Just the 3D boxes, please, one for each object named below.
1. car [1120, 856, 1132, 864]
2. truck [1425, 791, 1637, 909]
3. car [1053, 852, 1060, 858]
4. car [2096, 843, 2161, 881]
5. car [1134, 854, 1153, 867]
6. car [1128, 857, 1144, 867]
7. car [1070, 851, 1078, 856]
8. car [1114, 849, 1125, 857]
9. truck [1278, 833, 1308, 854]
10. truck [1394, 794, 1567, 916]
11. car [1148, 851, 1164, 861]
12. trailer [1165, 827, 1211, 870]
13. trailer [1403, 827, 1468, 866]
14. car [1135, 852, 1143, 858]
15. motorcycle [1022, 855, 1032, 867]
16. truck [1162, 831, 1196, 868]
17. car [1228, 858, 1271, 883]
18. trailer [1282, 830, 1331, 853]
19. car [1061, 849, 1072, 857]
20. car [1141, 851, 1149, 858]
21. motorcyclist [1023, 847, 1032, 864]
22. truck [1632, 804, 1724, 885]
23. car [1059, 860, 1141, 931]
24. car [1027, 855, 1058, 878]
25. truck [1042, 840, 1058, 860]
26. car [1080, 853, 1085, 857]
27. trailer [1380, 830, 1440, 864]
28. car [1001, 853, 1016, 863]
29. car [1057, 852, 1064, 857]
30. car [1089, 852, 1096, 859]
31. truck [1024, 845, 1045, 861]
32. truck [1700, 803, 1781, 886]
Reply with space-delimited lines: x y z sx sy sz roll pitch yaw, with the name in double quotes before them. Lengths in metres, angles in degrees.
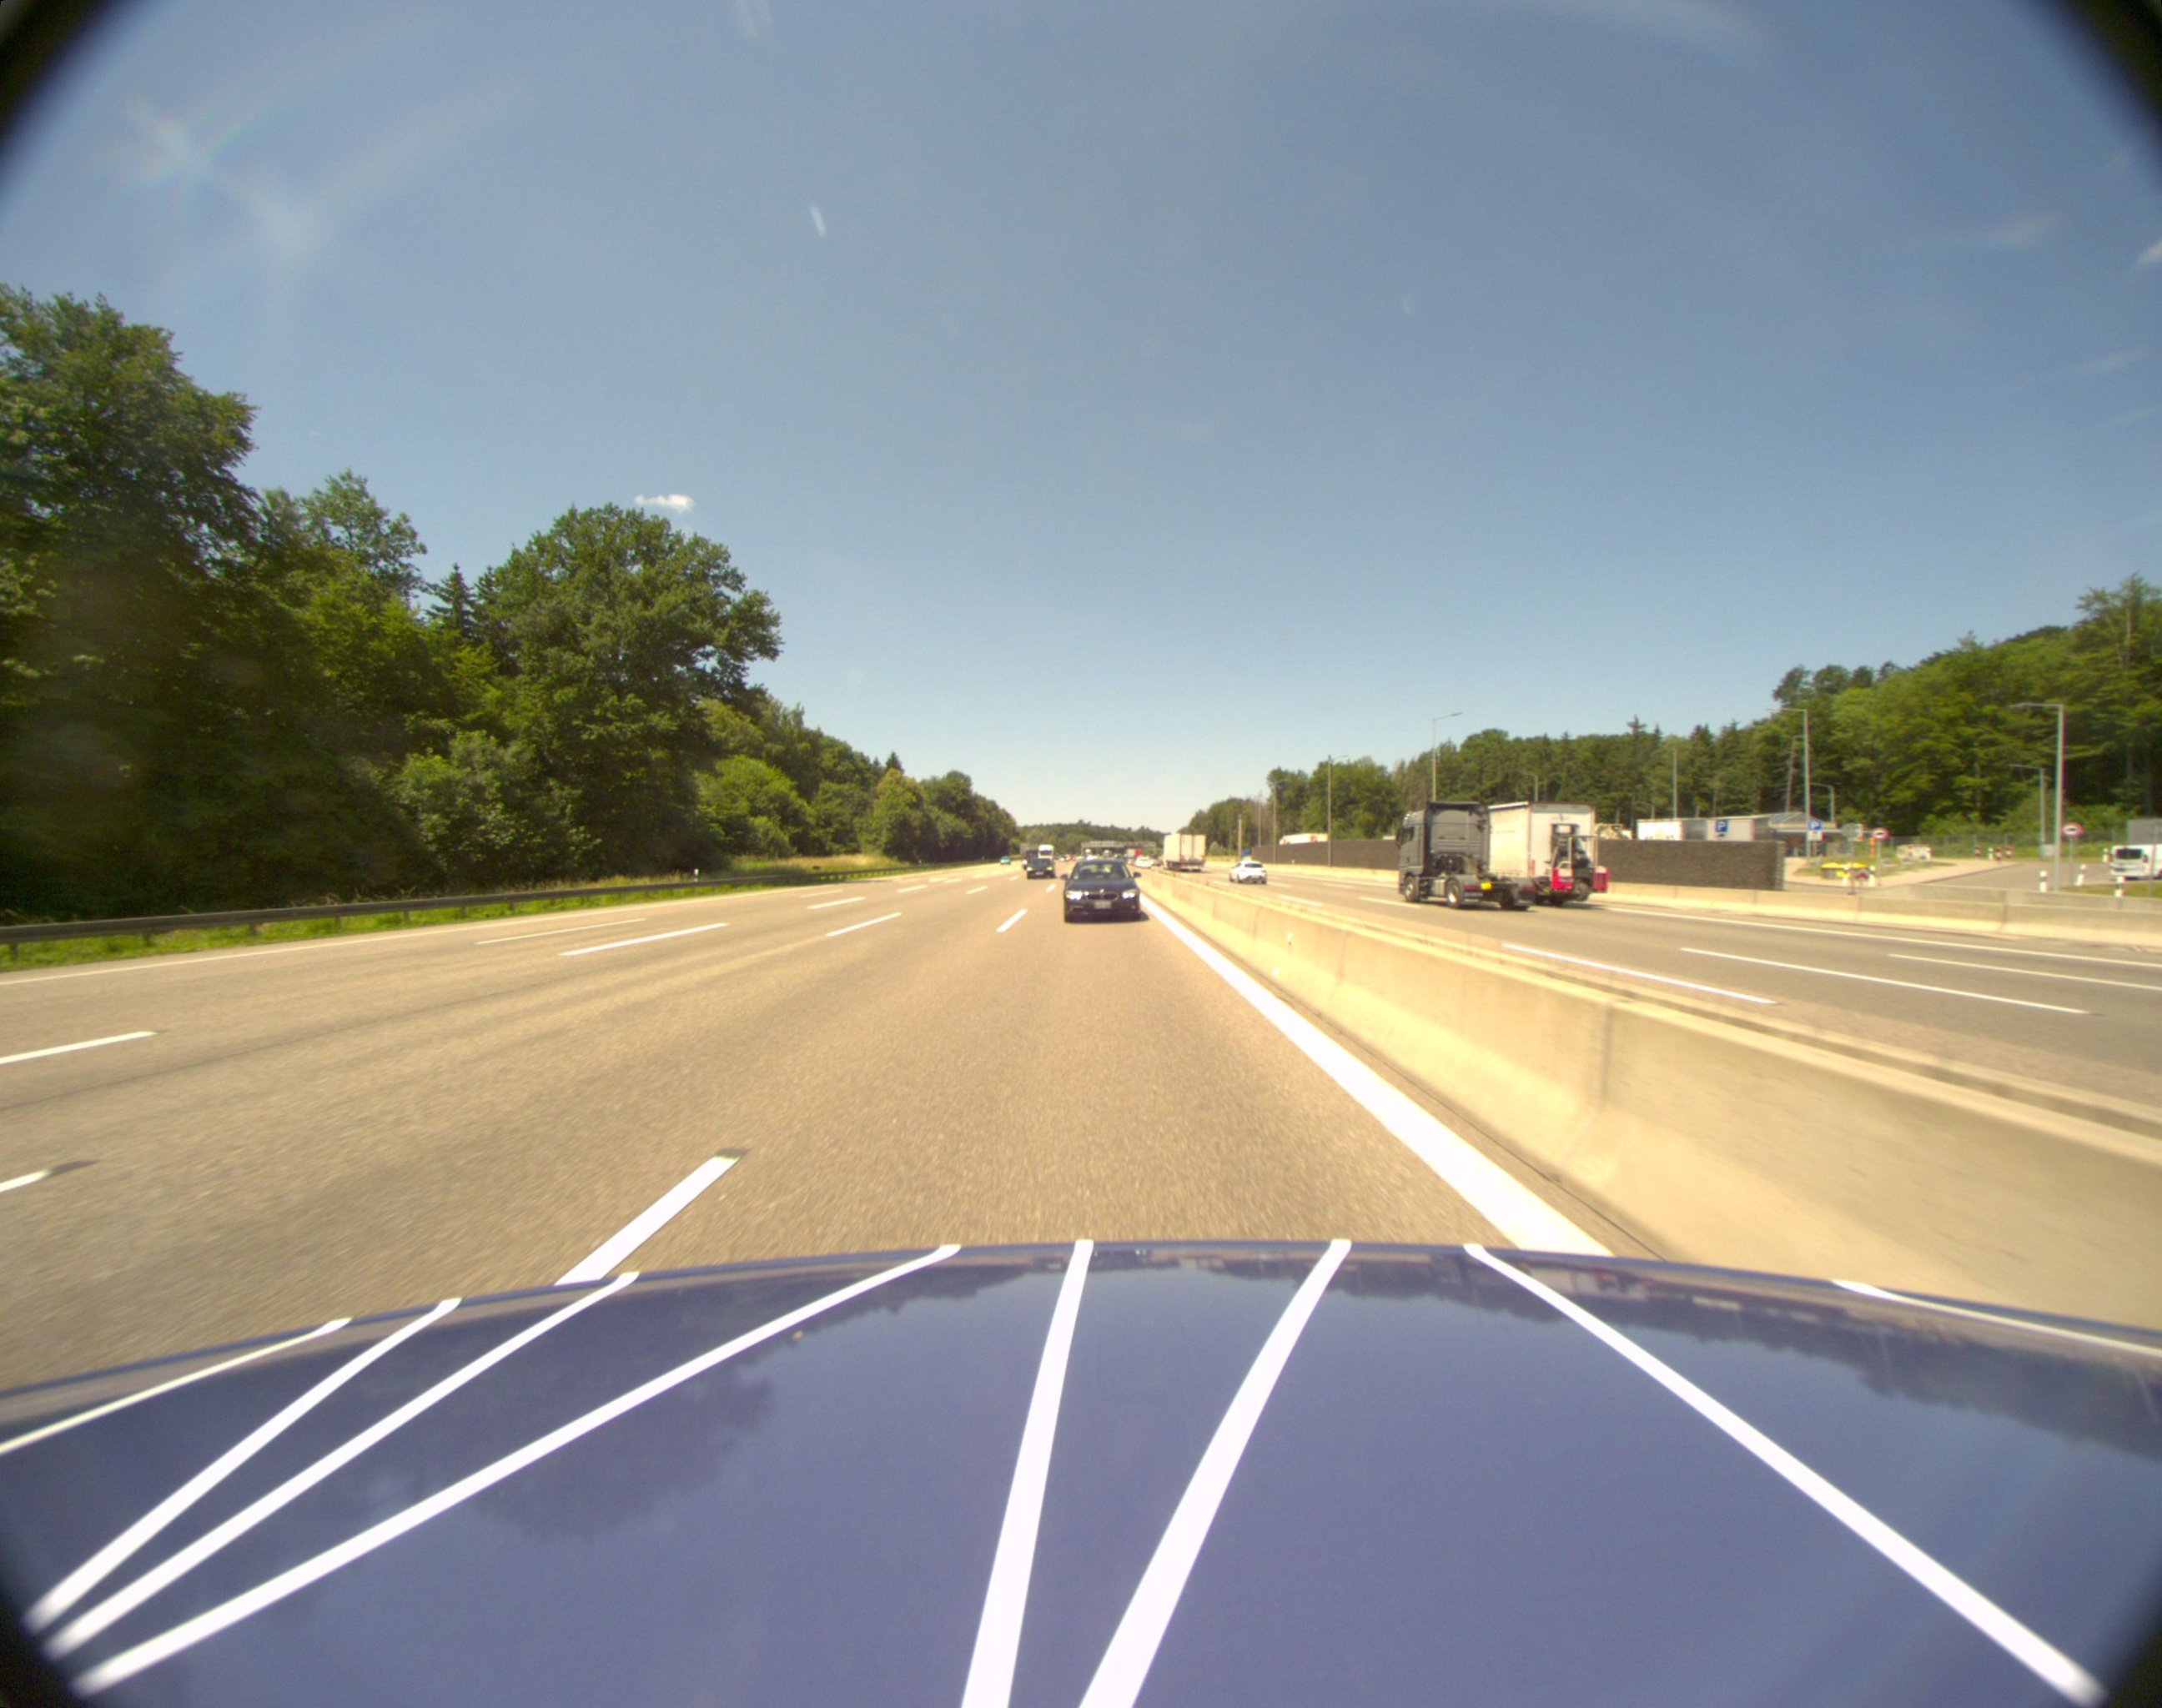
"car" 8.529 1.143 144.863 1.875 1.538 4.591 0 0 -1
"truck" 18.288 -0.165 32.123 2.842 4.173 10.596 0 0 1
"car" -6.849 0.253 214.915 1.747 1.529 4.127 1 0 2
"car" 59.074 0.433 41.070 4.733 2.002 2.088 0 0 15
"car" 7.084 0.739 86.309 1.752 1.449 4.156 0 0 -1
"car" 8.153 1.205 113.255 1.999 1.478 5.135 0 0 -1
"car" -1.818 -0.136 204.374 1.910 1.450 4.127 1 0 1
"car" 8.853 -0.255 173.794 1.999 1.653 5.752 1 0 -3
"truck" 33.155 -1.636 119.061 2.934 3.106 6.202 0 0 1
"truck" 14.036 0.015 27.482 2.584 3.818 7.017 1 0 1
"car" 11.740 0.250 119.227 1.999 1.478 5.018 2 0 -1
"trailer" 11.432 -0.541 82.769 3.030 4.200 14.466 1 0 1
"trailer" 49.507 -0.982 105.743 14.597 5.043 3.214 0 1 -44
"car" 18.681 0.247 244.787 1.998 1.763 5.038 0 0 1
"motorcycle" -6.014 0.752 84.922 0.925 1.310 2.998 0 0 1
"truck" 11.492 -0.500 89.964 3.055 4.113 6.948 2 0 1
"car" 10.802 1.001 49.110 1.727 1.498 4.460 0 0 -1
"trailer" 32.877 -1.761 111.547 2.979 3.106 14.609 0 0 1
"car" -3.128 -0.291 165.189 1.998 1.670 4.127 1 0 3
"car" 17.919 0.156 212.985 1.998 1.763 5.923 1 0 1
"motorcyclist" -5.988 0.172 84.848 0.914 1.926 0.905 0 1 0
"truck" 47.362 -0.691 59.922 16.746 5.580 3.441 0 1 -44
"car" 0.486 0.923 18.876 1.741 1.450 4.543 -2 0 2
"car" -2.583 0.800 51.859 1.834 1.454 4.204 1 0 1
"truck" -5.287 -0.695 131.363 2.428 3.237 8.689 1 0 0
"car" 0.511 0.273 252.495 1.910 1.450 4.126 1 0 0
"trailer" 50.735 -1.045 116.887 14.597 5.043 3.120 0 1 -44
"car" -12.676 0.614 132.486 1.998 1.670 4.127 1 0 3
"car" -6.385 0.102 236.746 1.747 1.529 4.127 1 0 1
"car" 3.330 0.437 216.235 1.998 1.935 4.128 0 -1 1
"truck" -8.679 -0.176 141.936 2.660 2.839 10.887 1 0 3
"truck" 50.780 -0.648 58.222 16.746 5.580 3.214 0 1 -44
